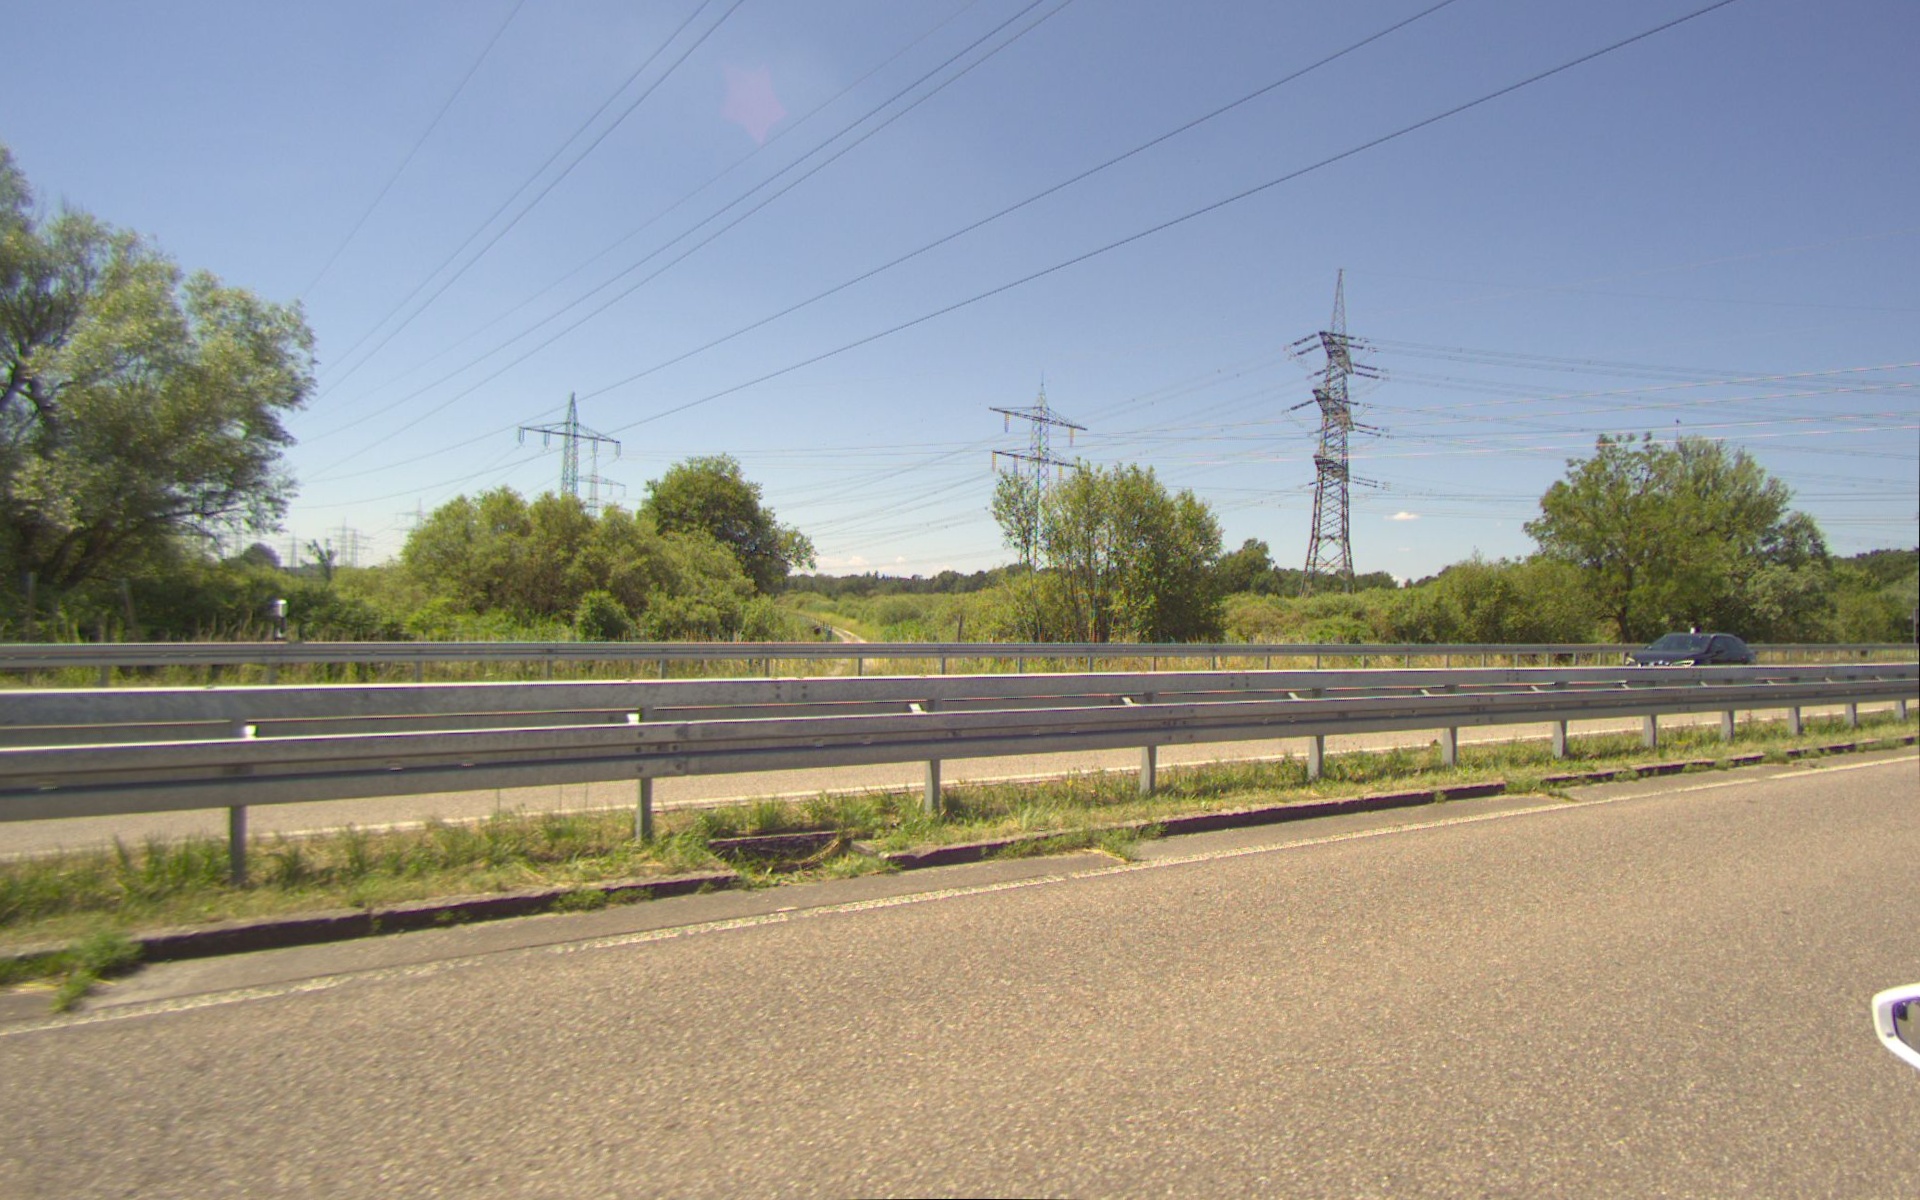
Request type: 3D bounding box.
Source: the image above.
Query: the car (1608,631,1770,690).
[{"bbox_3d":[19.562,1.582,26.922,4.626,1.431,1.836,2,-1,-31],"label":"car"}]
